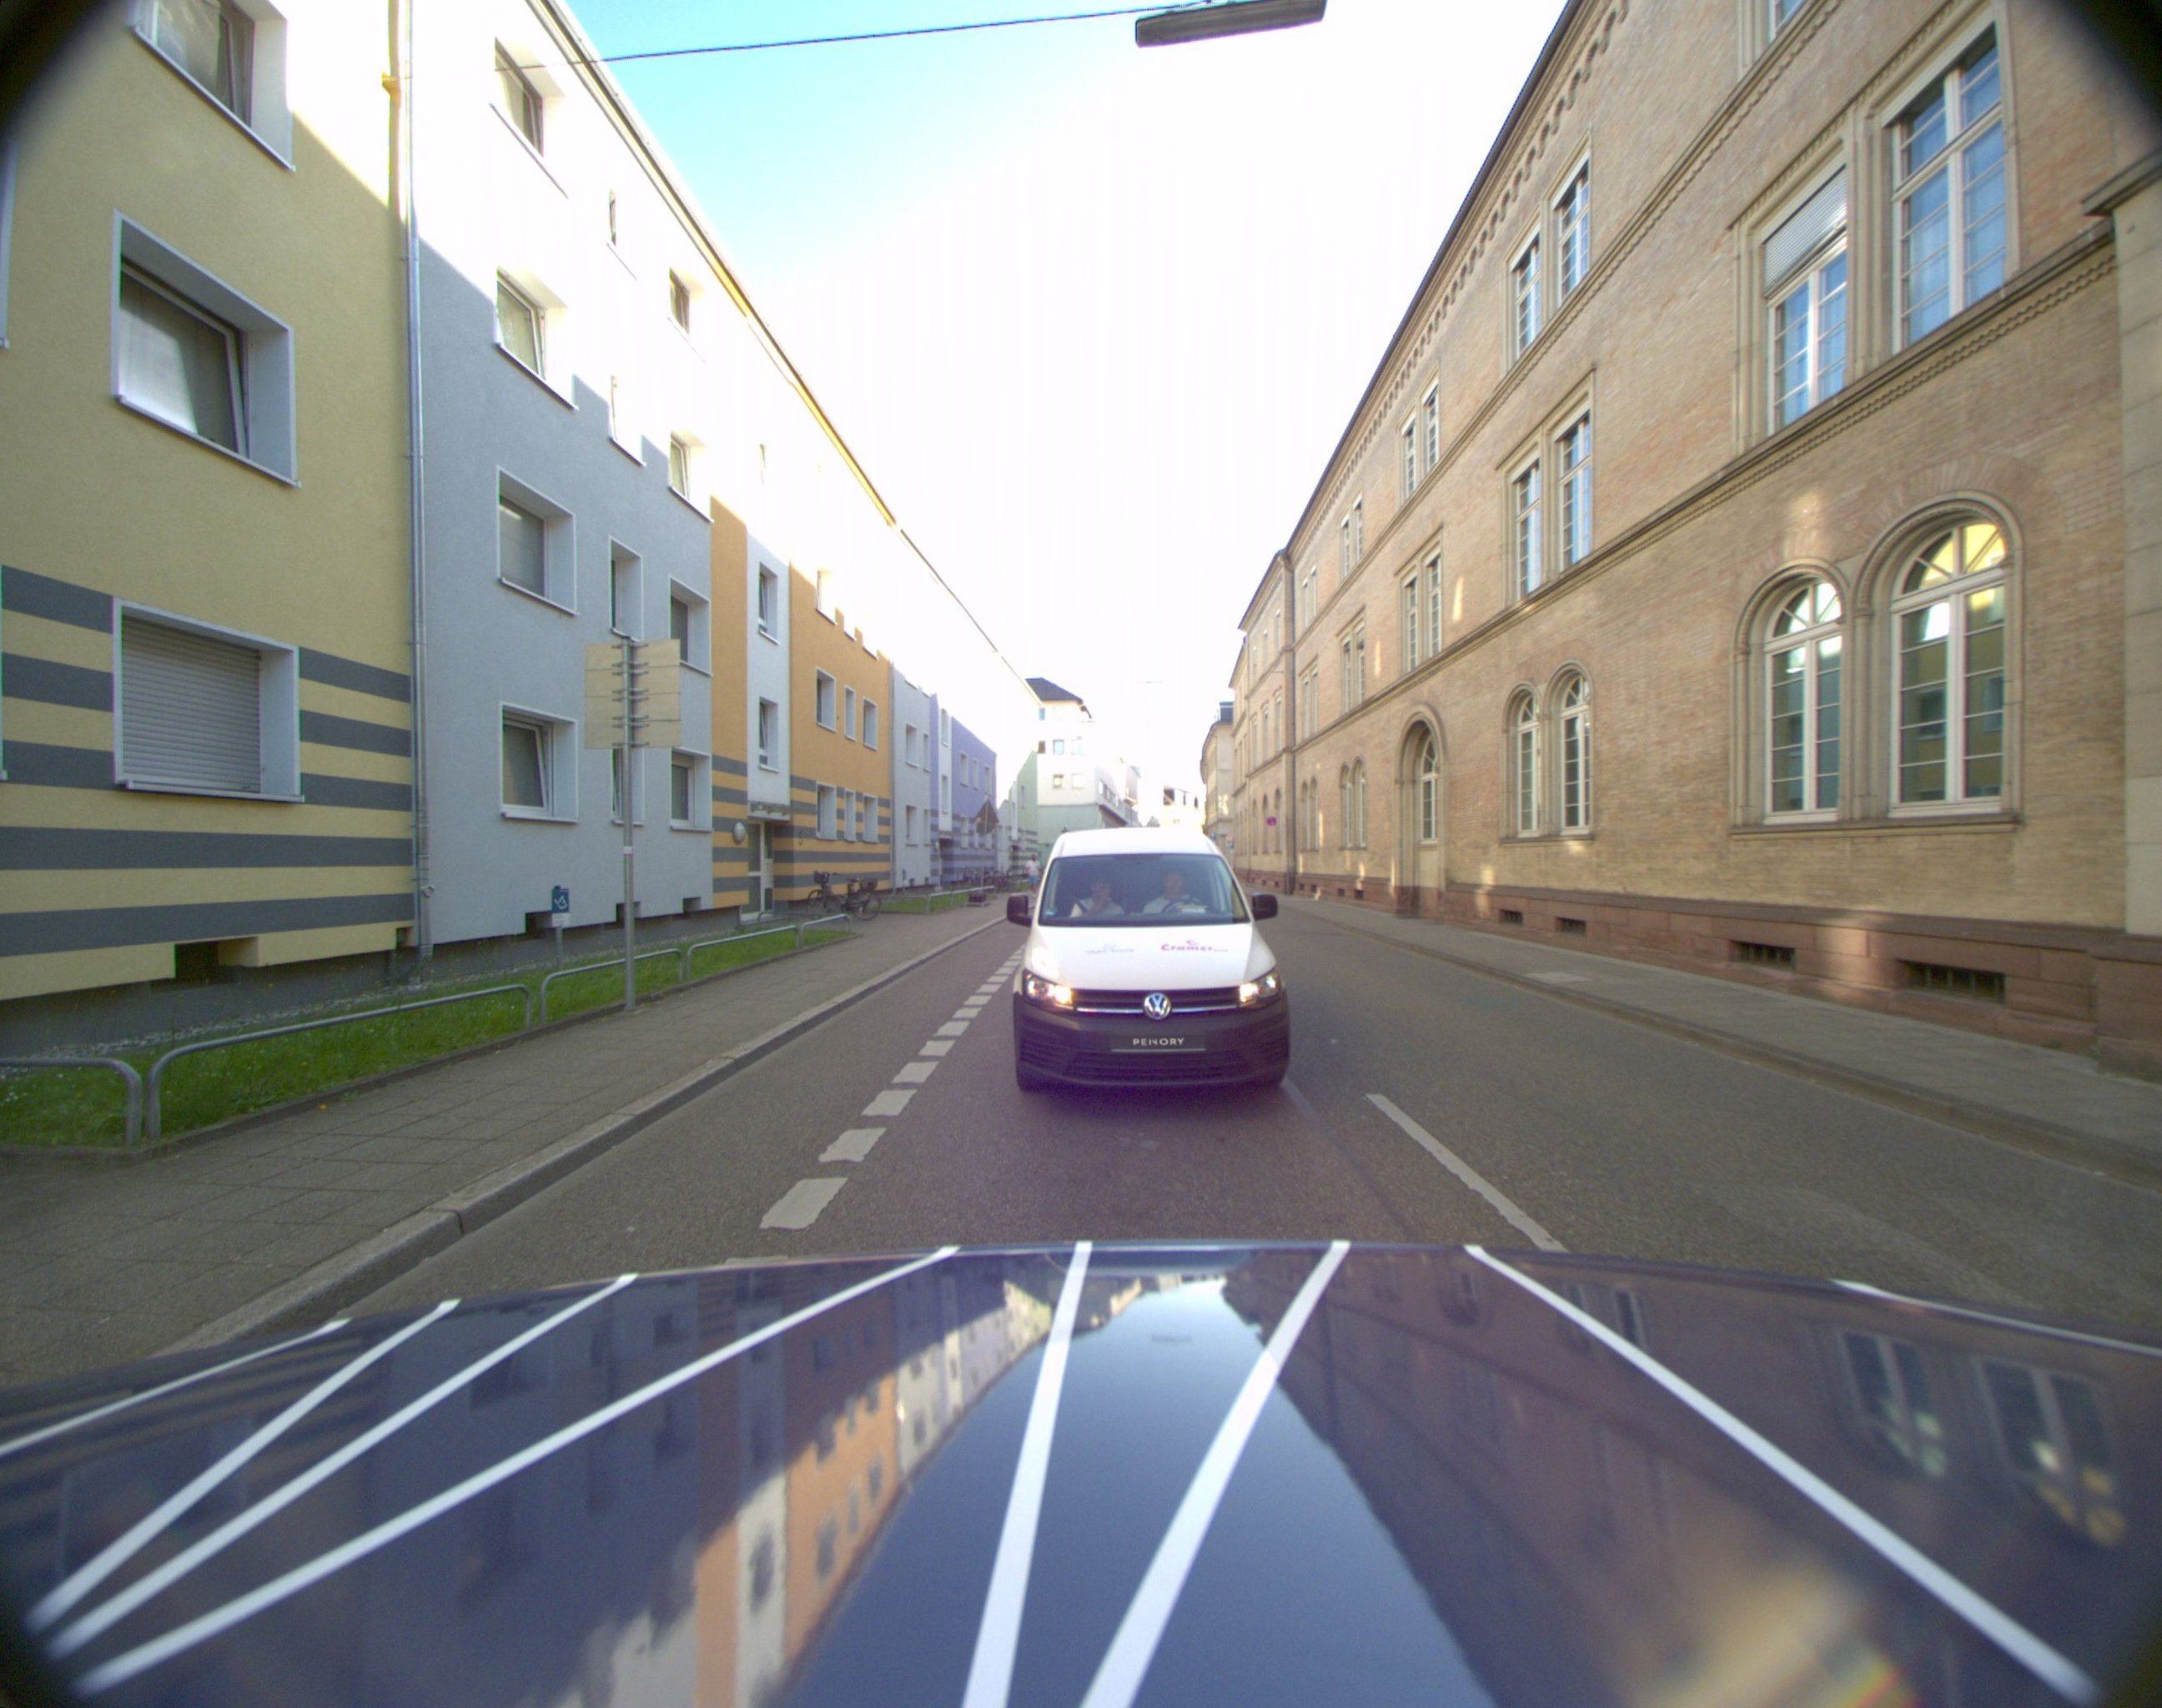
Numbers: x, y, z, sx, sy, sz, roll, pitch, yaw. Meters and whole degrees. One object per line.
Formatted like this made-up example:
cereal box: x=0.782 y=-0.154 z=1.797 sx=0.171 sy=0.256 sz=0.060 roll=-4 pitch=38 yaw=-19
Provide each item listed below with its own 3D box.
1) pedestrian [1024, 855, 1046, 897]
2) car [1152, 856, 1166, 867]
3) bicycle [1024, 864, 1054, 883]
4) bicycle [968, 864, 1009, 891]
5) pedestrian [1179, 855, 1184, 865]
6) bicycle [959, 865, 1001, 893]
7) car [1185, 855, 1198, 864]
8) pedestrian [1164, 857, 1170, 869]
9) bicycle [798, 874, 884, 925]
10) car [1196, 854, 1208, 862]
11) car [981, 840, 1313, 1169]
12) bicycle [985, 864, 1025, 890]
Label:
pedestrian: x=-1.835 y=0.860 z=30.388 sx=0.705 sy=1.627 sz=0.833 roll=2 pitch=1 yaw=5
car: x=12.638 y=1.212 z=122.707 sx=1.997 sy=1.643 sz=4.231 roll=-2 pitch=1 yaw=9
bicycle: x=-2.520 y=1.160 z=46.057 sx=1.779 sy=1.145 sz=0.484 roll=0 pitch=0 yaw=0
bicycle: x=-4.034 y=1.025 z=33.140 sx=1.676 sy=1.145 sz=0.484 roll=0 pitch=0 yaw=4
pedestrian: x=17.402 y=1.064 z=131.209 sx=0.704 sy=1.627 sz=0.833 roll=3 pitch=2 yaw=14
bicycle: x=-4.239 y=1.051 z=31.846 sx=1.676 sy=1.145 sz=0.484 roll=0 pitch=0 yaw=4
car: x=22.098 y=1.112 z=152.029 sx=1.996 sy=1.643 sz=4.233 roll=-2 pitch=1 yaw=17
pedestrian: x=12.788 y=1.329 z=113.437 sx=0.705 sy=1.627 sz=0.833 roll=3 pitch=2 yaw=12
bicycle: x=-5.387 y=1.016 z=17.110 sx=1.780 sy=1.116 sz=0.484 roll=0 pitch=0 yaw=-5
car: x=26.080 y=0.831 z=163.761 sx=1.996 sy=1.643 sz=4.233 roll=-2 pitch=1 yaw=17
car: x=0.394 y=0.784 z=6.756 sx=1.769 sy=1.761 sz=5.331 roll=-1 pitch=1 yaw=1
bicycle: x=-3.375 y=1.008 z=33.685 sx=1.676 sy=1.145 sz=0.484 roll=0 pitch=0 yaw=4
